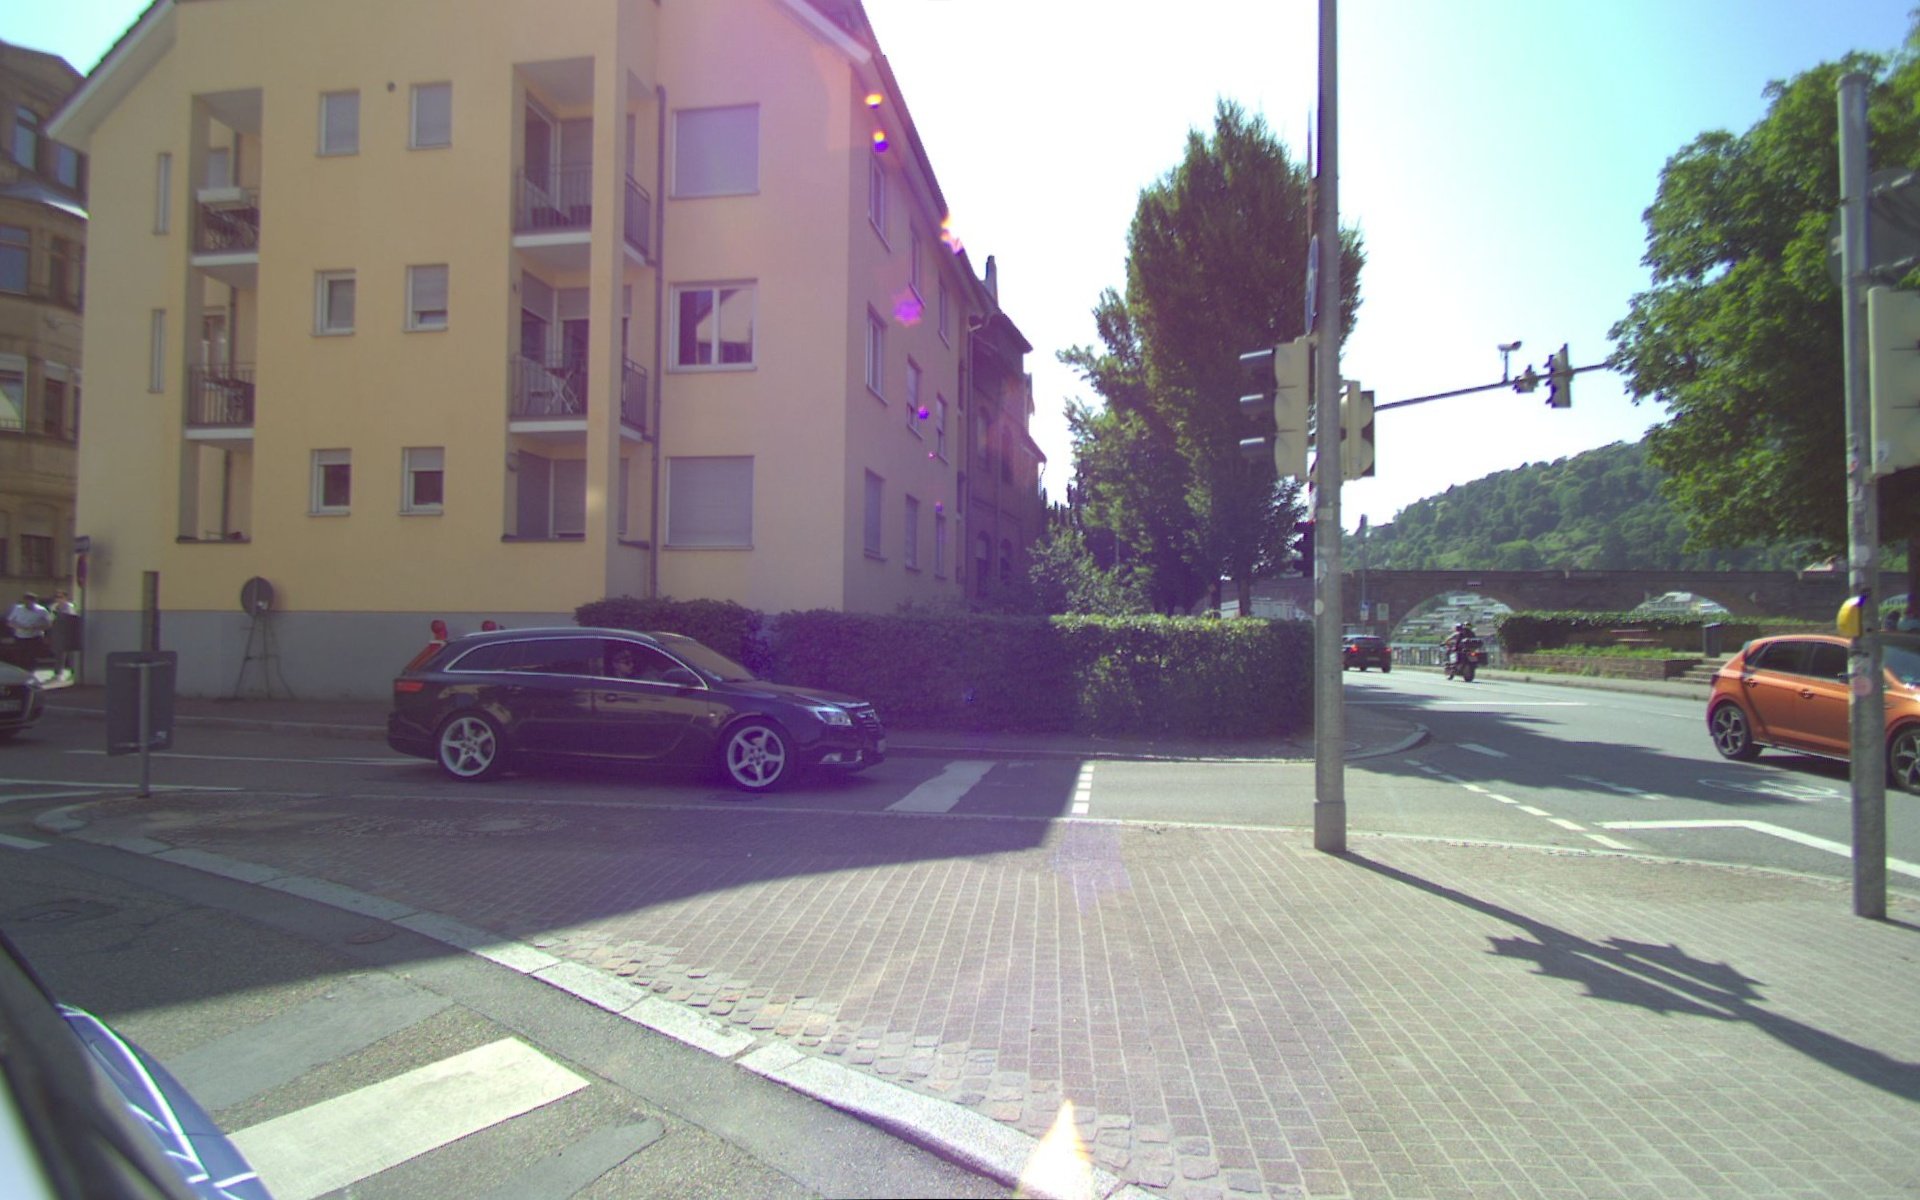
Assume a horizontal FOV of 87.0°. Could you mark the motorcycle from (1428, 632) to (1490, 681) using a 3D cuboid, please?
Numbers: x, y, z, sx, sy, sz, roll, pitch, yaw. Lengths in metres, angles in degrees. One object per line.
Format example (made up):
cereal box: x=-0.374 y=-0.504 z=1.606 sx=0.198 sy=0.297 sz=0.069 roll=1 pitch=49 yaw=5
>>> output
motorcycle: x=14.967 y=1.679 z=30.439 sx=0.753 sy=1.387 sz=2.468 roll=1 pitch=-2 yaw=4

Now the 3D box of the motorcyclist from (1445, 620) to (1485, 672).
motorcyclist: x=14.940 y=1.370 z=29.981 sx=0.808 sy=1.504 sz=0.772 roll=1 pitch=-2 yaw=4

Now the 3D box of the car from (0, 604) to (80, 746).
car: x=-12.370 y=0.771 z=10.909 sx=4.328 sy=1.504 sz=1.874 roll=1 pitch=-2 yaw=6

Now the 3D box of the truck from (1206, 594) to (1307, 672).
truck: x=17.648 y=1.990 z=61.251 sx=3.173 sy=4.246 sz=12.749 roll=0 pitch=-2 yaw=4

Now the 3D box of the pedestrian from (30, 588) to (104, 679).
pedestrian: x=-16.349 y=0.598 z=18.545 sx=0.683 sy=1.630 sz=0.754 roll=0 pitch=-1 yaw=9

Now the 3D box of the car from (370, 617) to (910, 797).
car: x=-2.923 y=0.976 z=9.792 sx=4.666 sy=1.473 sz=1.716 roll=1 pitch=-4 yaw=6

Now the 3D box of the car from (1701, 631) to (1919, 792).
car: x=9.348 y=1.009 z=9.736 sx=1.709 sy=1.416 sz=4.011 roll=0 pitch=-2 yaw=5

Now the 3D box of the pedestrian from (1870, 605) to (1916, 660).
pedestrian: x=21.897 y=0.757 z=23.761 sx=0.625 sy=1.280 sz=0.467 roll=0 pitch=-2 yaw=10

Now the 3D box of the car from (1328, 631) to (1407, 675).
car: x=15.989 y=2.049 z=39.912 sx=1.977 sy=1.608 sz=3.990 roll=0 pitch=-2 yaw=8

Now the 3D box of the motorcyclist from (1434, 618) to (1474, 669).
motorcyclist: x=14.994 y=1.314 z=30.760 sx=0.808 sy=1.506 sz=0.873 roll=1 pitch=-1 yaw=4

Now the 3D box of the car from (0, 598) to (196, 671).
car: x=-20.523 y=0.773 z=23.770 sx=1.831 sy=1.556 sz=3.989 roll=0 pitch=-1 yaw=8

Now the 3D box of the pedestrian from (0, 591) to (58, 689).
pedestrian: x=-16.023 y=0.677 z=17.342 sx=0.486 sy=1.630 sz=0.657 roll=1 pitch=-1 yaw=0

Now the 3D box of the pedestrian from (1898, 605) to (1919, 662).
pedestrian: x=21.757 y=0.753 z=22.888 sx=0.625 sy=1.280 sz=0.467 roll=0 pitch=-2 yaw=10

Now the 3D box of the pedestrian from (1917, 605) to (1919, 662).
pedestrian: x=21.979 y=0.752 z=22.292 sx=1.211 sy=1.280 sz=0.467 roll=0 pitch=-2 yaw=11
